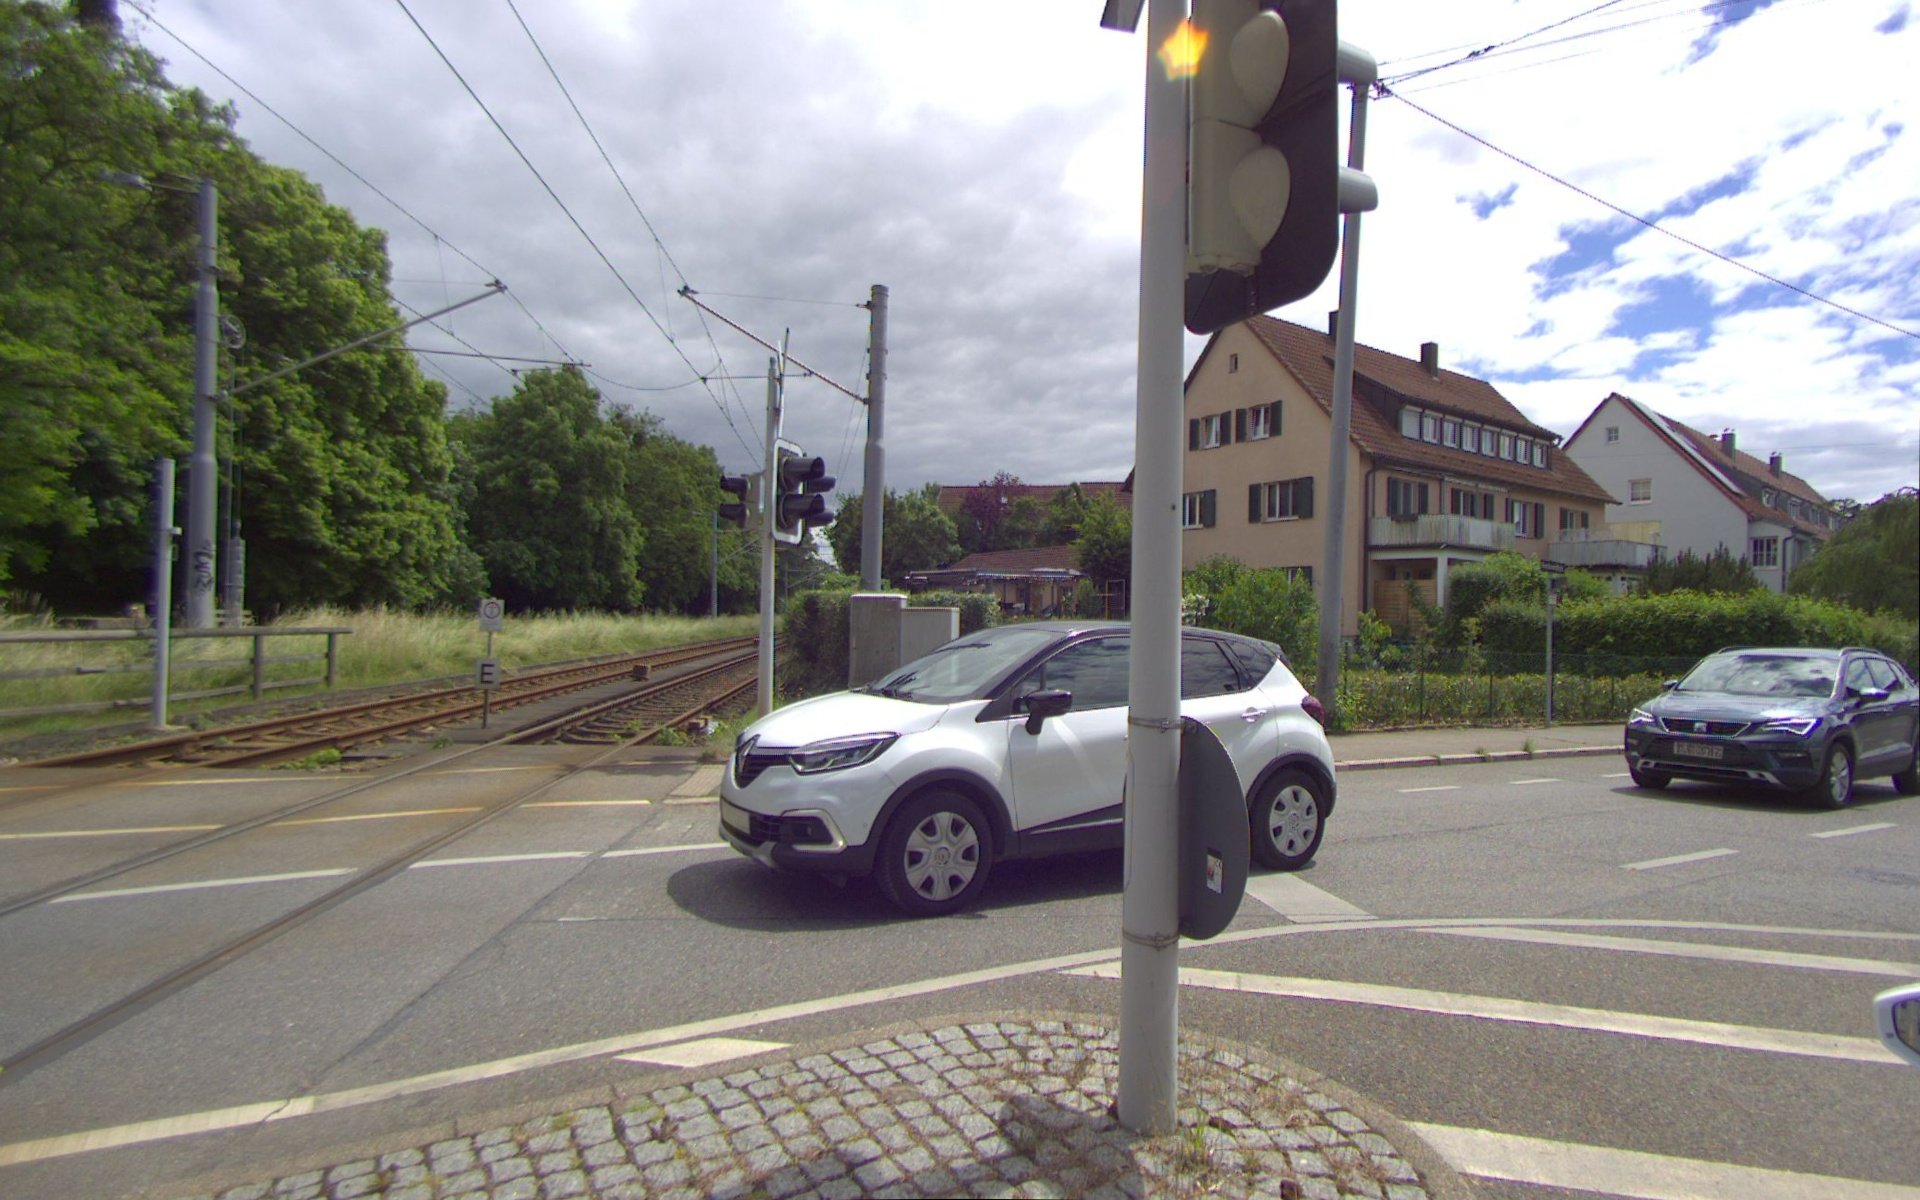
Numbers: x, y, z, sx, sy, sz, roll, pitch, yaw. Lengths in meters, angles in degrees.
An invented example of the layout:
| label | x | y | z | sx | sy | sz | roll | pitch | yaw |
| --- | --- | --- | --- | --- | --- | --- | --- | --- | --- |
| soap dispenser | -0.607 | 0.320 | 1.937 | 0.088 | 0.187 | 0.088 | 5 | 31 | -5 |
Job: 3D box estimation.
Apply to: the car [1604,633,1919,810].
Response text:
| label | x | y | z | sx | sy | sz | roll | pitch | yaw |
| --- | --- | --- | --- | --- | --- | --- | --- | --- | --- |
| car | 9.140 | 1.246 | 11.225 | 3.995 | 1.624 | 1.765 | 3 | -2 | -32 |

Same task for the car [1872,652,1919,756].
| label | x | y | z | sx | sy | sz | roll | pitch | yaw |
| --- | --- | --- | --- | --- | --- | --- | --- | --- | --- |
| car | 16.974 | 1.706 | 16.589 | 4.124 | 1.624 | 1.766 | 3 | -4 | -32 |

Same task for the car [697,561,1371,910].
| label | x | y | z | sx | sy | sz | roll | pitch | yaw |
| --- | --- | --- | --- | --- | --- | --- | --- | --- | --- |
| car | 0.556 | 0.748 | 6.453 | 3.991 | 1.624 | 1.767 | 3 | -2 | -29 |
